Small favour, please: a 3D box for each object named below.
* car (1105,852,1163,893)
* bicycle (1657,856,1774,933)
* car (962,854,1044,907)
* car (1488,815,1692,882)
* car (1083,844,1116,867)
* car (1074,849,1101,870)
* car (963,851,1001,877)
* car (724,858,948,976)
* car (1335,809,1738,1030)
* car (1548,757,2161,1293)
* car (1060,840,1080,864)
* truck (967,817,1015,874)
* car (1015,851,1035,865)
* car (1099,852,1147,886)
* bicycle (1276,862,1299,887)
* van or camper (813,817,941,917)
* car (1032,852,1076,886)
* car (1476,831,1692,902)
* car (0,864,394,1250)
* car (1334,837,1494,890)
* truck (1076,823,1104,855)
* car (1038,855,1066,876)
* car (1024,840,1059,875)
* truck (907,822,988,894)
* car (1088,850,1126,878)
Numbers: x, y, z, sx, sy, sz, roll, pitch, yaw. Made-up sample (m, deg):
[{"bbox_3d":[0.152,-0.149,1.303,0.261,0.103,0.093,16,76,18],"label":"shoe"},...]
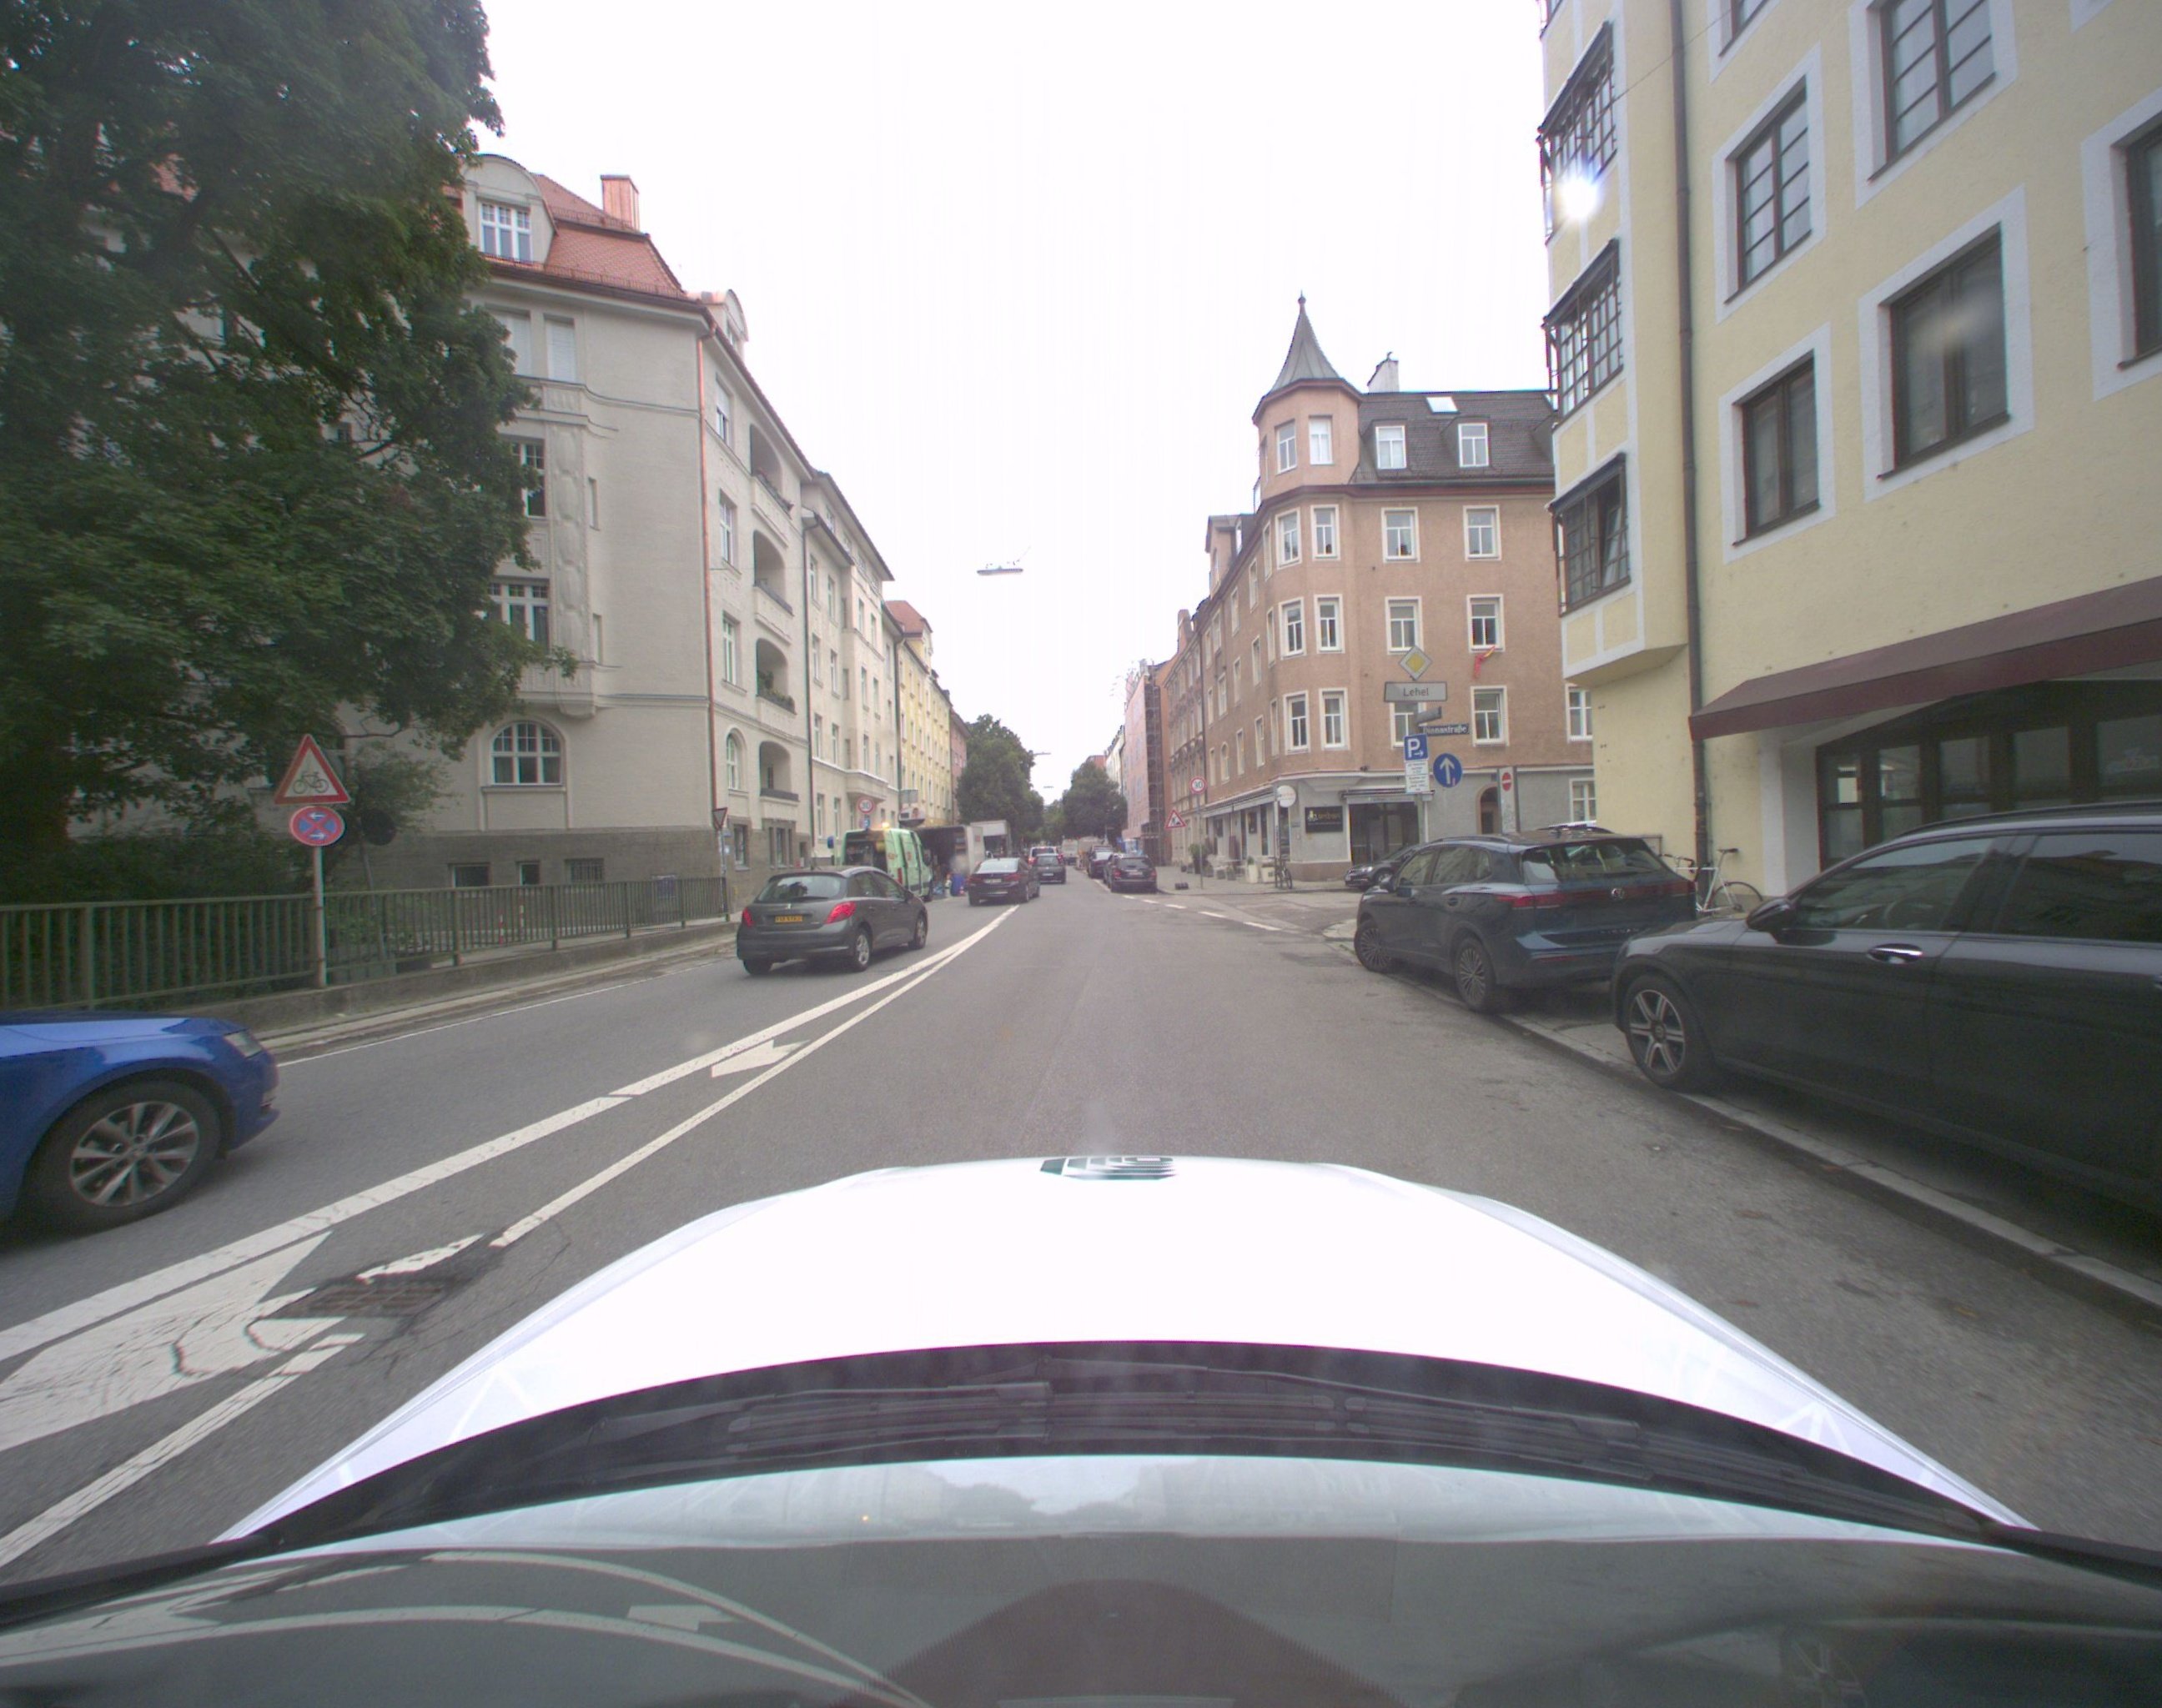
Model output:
[{"bbox_3d":[1.997,0.667,31.994,1.839,1.429,4.180,1,1,-2],"label":"car"},{"bbox_3d":[8.669,0.516,11.206,0.270,0.977,1.684,-1,0,0],"label":"bicycle"},{"bbox_3d":[-2.476,0.805,27.135,1.982,1.429,4.909,-2,1,3],"label":"car"},{"bbox_3d":[15.985,-0.137,25.802,5.112,1.854,2.099,-2,-2,-1],"label":"car"},{"bbox_3d":[1.204,0.075,54.509,1.984,1.429,4.139,-2,1,-1],"label":"car"},{"bbox_3d":[0.476,0.419,64.180,1.984,1.429,4.139,-2,1,-1],"label":"car"},{"bbox_3d":[-6.405,0.611,53.047,1.984,1.610,4.139,-2,0,-1],"label":"car"},{"bbox_3d":[-3.574,0.851,12.775,1.749,1.461,4.083,-2,0,8],"label":"car"},{"bbox_3d":[4.388,0.526,8.844,1.812,1.679,4.510,-4,0,0],"label":"car"},{"bbox_3d":[4.277,0.485,3.674,1.749,1.679,4.710,-4,0,3],"label":"car"},{"bbox_3d":[-1.176,-0.240,87.429,1.933,2.480,4.783,-2,0,1],"label":"car"},{"bbox_3d":[-6.585,-0.610,60.494,3.005,3.951,6.989,-2,0,-3],"label":"truck"},{"bbox_3d":[-5.970,0.414,87.263,1.934,1.448,3.863,-2,0,-2],"label":"car"},{"bbox_3d":[1.912,0.653,38.005,1.839,1.429,4.137,1,1,-2],"label":"car"},{"bbox_3d":[6.935,0.674,27.423,0.455,0.805,1.327,-2,0,1],"label":"bicycle"},{"bbox_3d":[-6.519,0.336,27.021,2.592,2.840,6.184,-2,1,0],"label":"van or camper"},{"bbox_3d":[-1.274,0.690,39.745,1.984,1.429,4.139,-2,1,-1],"label":"car"},{"bbox_3d":[11.820,0.262,19.321,4.023,1.456,1.747,-2,2,1],"label":"car"},{"bbox_3d":[-5.307,0.841,2.434,1.975,1.454,4.748,-2,0,10],"label":"car"},{"bbox_3d":[10.273,0.308,25.323,4.157,1.429,1.924,-2,-2,-1],"label":"car"},{"bbox_3d":[0.856,-1.474,80.449,2.485,2.973,5.324,-2,0,-2],"label":"truck"},{"bbox_3d":[-2.189,0.836,62.385,1.984,1.429,4.139,-2,1,-1],"label":"car"},{"bbox_3d":[-2.466,0.164,52.059,1.984,2.075,4.139,-2,1,-1],"label":"car"},{"bbox_3d":[-5.951,0.118,37.402,2.767,2.873,7.194,-2,1,-3],"label":"truck"},{"bbox_3d":[1.456,0.541,46.723,1.839,1.429,4.303,1,1,-2],"label":"car"}]
